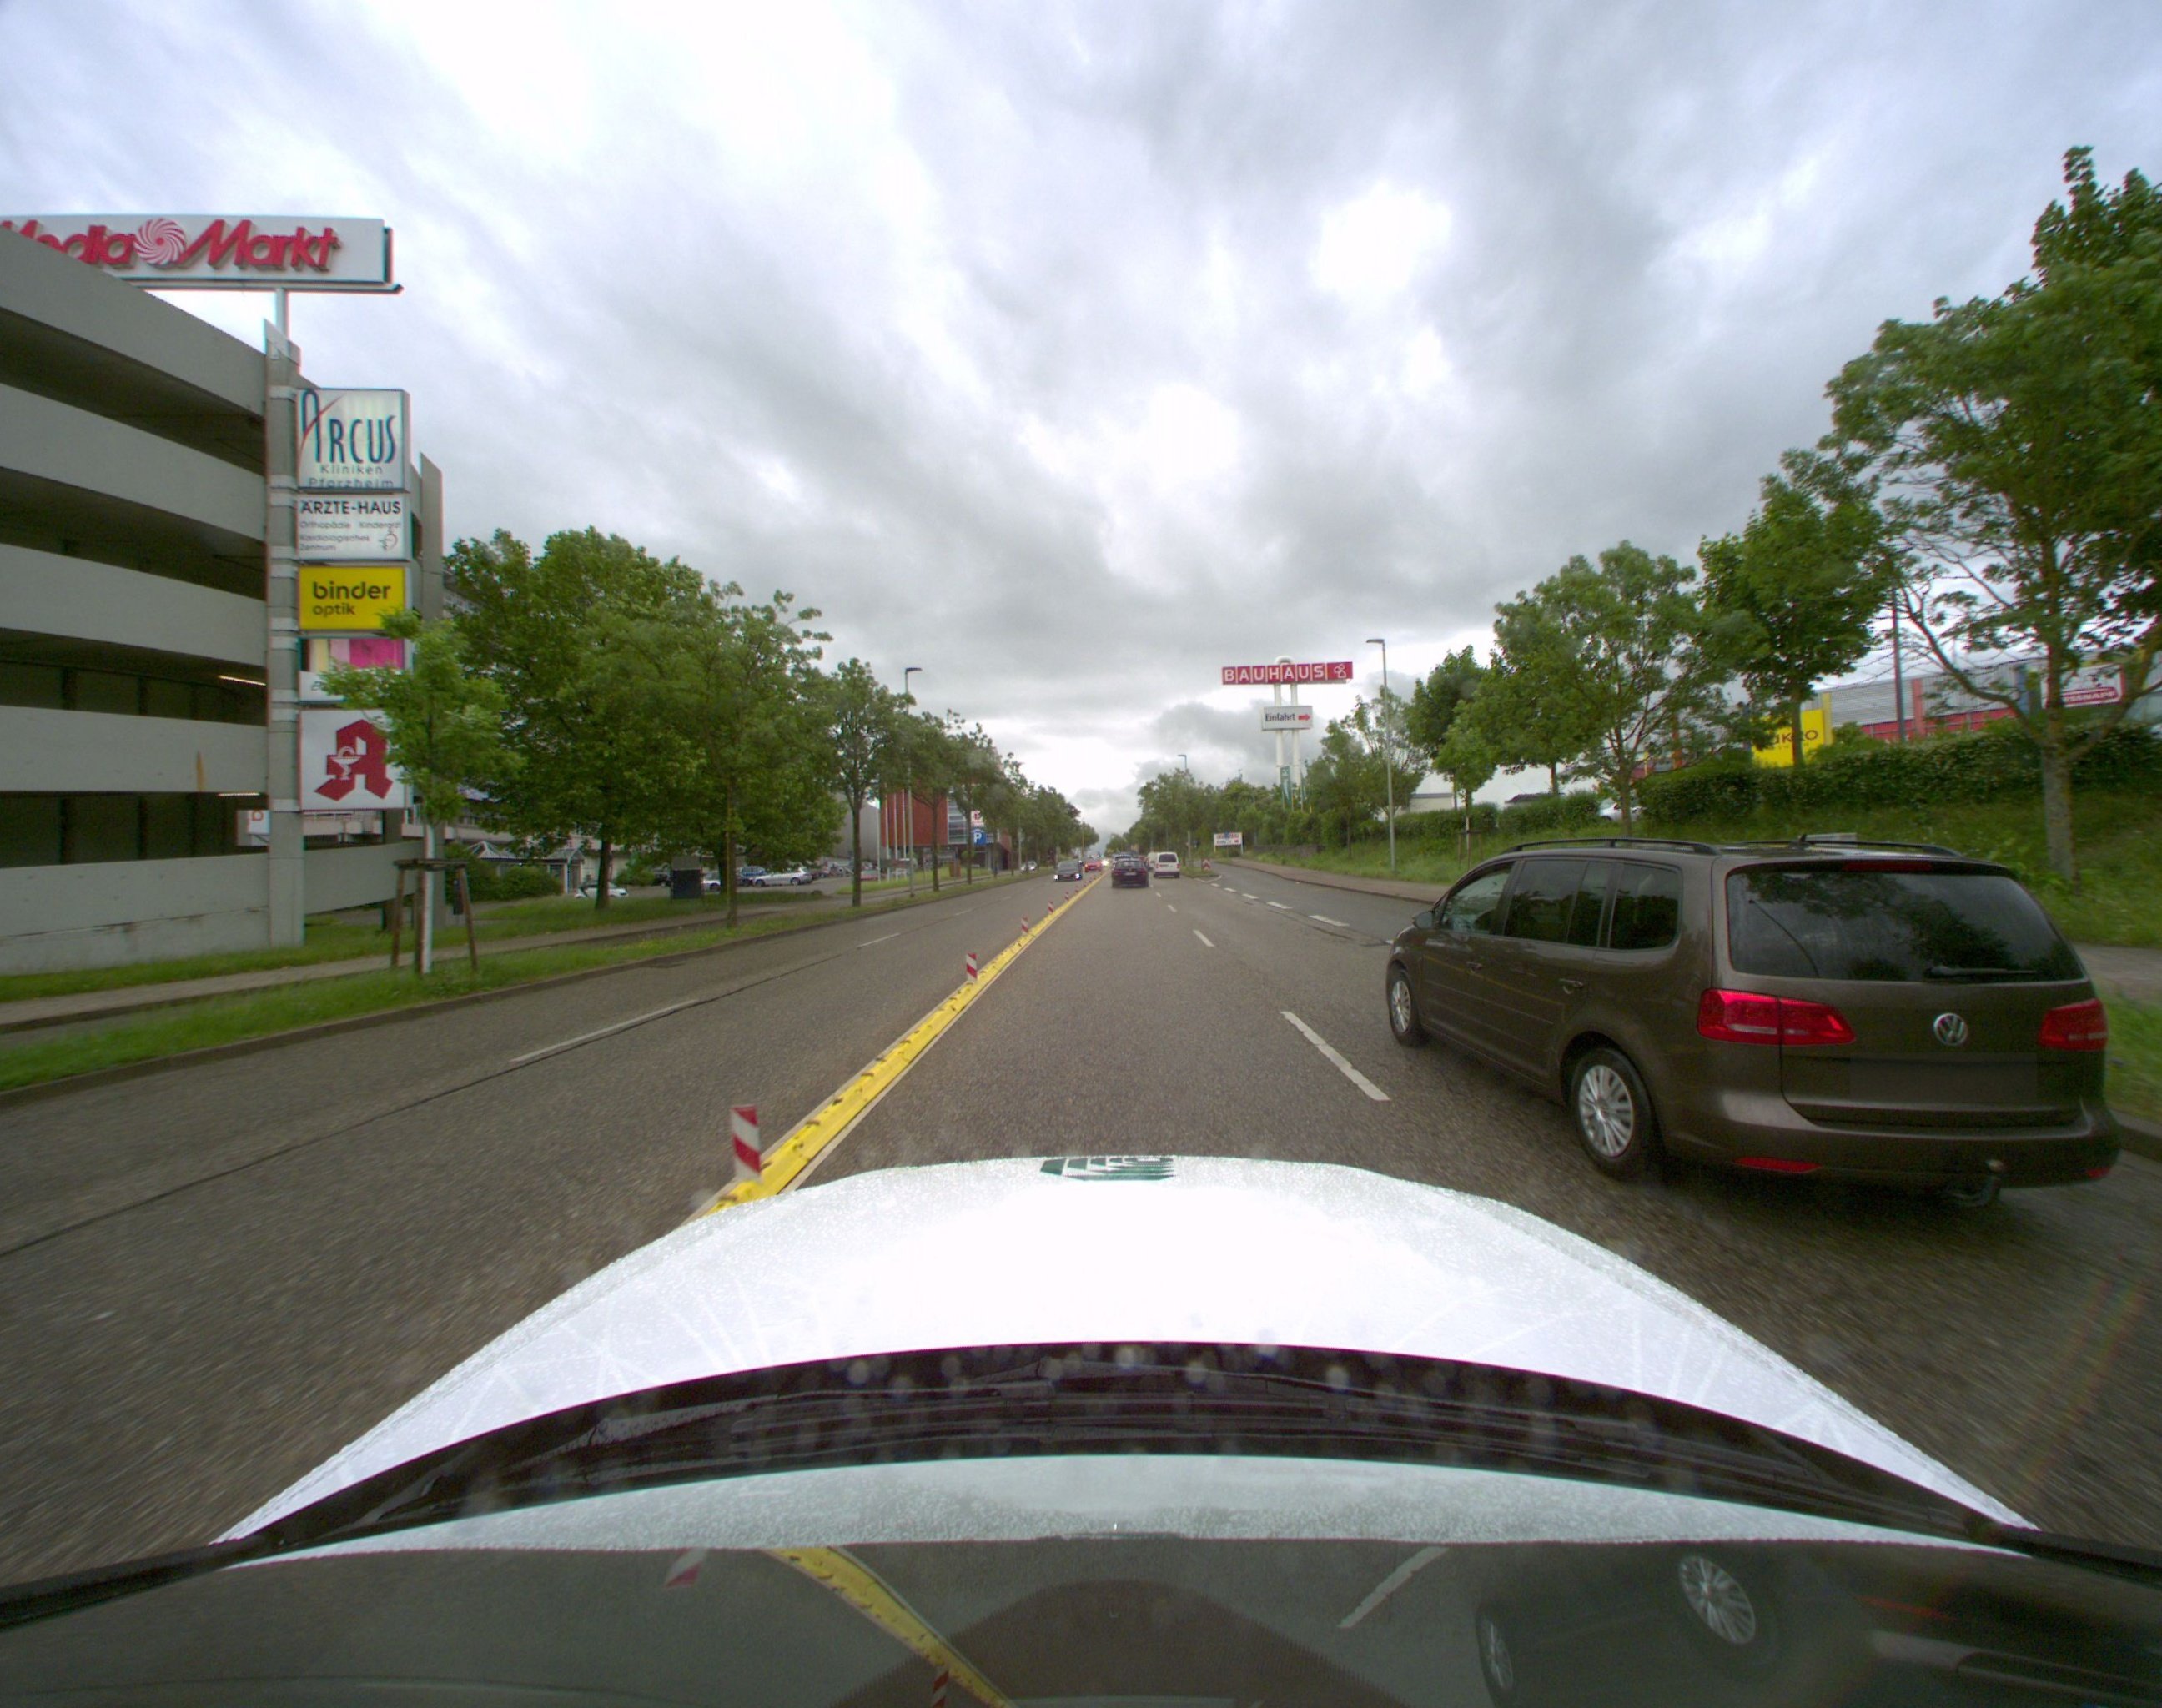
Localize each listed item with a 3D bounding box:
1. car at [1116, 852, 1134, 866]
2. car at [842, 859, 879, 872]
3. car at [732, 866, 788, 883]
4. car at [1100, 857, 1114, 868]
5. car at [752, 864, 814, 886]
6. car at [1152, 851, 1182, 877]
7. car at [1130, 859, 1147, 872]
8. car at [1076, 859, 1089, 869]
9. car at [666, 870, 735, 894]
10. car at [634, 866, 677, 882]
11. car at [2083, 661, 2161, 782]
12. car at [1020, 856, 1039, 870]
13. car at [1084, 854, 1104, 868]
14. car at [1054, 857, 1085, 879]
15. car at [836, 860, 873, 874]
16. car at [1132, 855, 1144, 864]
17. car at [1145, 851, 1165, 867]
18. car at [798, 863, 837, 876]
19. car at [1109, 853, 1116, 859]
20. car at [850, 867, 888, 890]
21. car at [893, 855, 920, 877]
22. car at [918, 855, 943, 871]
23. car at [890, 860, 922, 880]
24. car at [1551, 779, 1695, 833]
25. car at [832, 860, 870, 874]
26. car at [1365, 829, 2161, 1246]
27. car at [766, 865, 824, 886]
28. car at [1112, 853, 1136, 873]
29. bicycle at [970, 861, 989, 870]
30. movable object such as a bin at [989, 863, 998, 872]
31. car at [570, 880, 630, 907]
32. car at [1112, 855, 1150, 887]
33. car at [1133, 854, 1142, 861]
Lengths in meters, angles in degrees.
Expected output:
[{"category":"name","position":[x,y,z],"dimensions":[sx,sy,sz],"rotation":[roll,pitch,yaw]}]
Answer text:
[{"category":"car","position":[4.625,0.533,86.358],"dimensions":[1.787,1.510,4.002],"rotation":[0,-1,2]},{"category":"car","position":[-27.688,1.477,102.320],"dimensions":[4.185,1.510,1.816],"rotation":[-1,1,-6]},{"category":"car","position":[-31.147,1.982,79.025],"dimensions":[4.603,1.510,2.021],"rotation":[-1,1,-6]},{"category":"car","position":[3.589,1.173,112.930],"dimensions":[1.660,1.410,4.381],"rotation":[-4,-1,3]},{"category":"car","position":[-25.720,1.794,70.424],"dimensions":[4.592,1.745,1.963],"rotation":[-1,1,-6]},{"category":"car","position":[6.055,0.664,57.893],"dimensions":[1.820,1.759,4.002],"rotation":[0,0,2]},{"category":"car","position":[6.751,1.362,95.691],"dimensions":[1.788,1.510,3.999],"rotation":[0,-1,0]},{"category":"car","position":[0.270,1.612,132.194],"dimensions":[1.780,1.614,4.440],"rotation":[-4,0,3]},{"category":"car","position":[-30.275,2.227,64.901],"dimensions":[4.597,1.745,1.961],"rotation":[-1,1,-9]},{"category":"car","position":[-48.648,2.248,93.136],"dimensions":[3.979,1.732,1.798],"rotation":[-1,1,-4]},{"category":"car","position":[22.780,-2.744,15.297],"dimensions":[5.599,2.142,2.118],"rotation":[-5,-1,-5]},{"category":"car","position":[-6.546,1.145,104.734],"dimensions":[1.859,1.553,4.578],"rotation":[-4,0,2]},{"category":"car","position":[1.382,0.727,86.865],"dimensions":[1.754,1.425,4.185],"rotation":[-3,0,5]},{"category":"car","position":[-0.777,0.966,58.050],"dimensions":[1.820,1.466,4.619],"rotation":[-2,0,3]},{"category":"car","position":[-27.763,1.578,100.066],"dimensions":[4.103,1.510,1.816],"rotation":[-1,1,-6]},{"category":"car","position":[9.470,0.969,136.038],"dimensions":[1.788,1.510,3.999],"rotation":[0,-1,0]},{"category":"car","position":[7.372,0.532,81.241],"dimensions":[1.787,1.510,4.003],"rotation":[0,-1,3]},{"category":"car","position":[-32.176,1.875,99.555],"dimensions":[4.103,1.510,1.816],"rotation":[-1,1,-6]},{"category":"car","position":[9.655,0.612,248.008],"dimensions":[1.786,1.510,4.004],"rotation":[-4,0,3]},{"category":"car","position":[-16.921,1.921,65.328],"dimensions":[1.928,1.608,4.708],"rotation":[-1,1,-2]},{"category":"car","position":[-18.305,1.242,85.656],"dimensions":[2.111,2.096,5.112],"rotation":[-1,1,-6]},{"category":"car","position":[-18.633,1.065,100.790],"dimensions":[2.130,1.773,4.609],"rotation":[-1,1,1]},{"category":"car","position":[-17.099,1.538,79.936],"dimensions":[2.033,1.762,4.945],"rotation":[-1,1,0]},{"category":"car","position":[21.239,-1.848,31.997],"dimensions":[4.338,1.629,1.926],"rotation":[-5,-1,-3]},{"category":"car","position":[-27.628,1.578,97.833],"dimensions":[4.103,1.510,1.816],"rotation":[-1,1,-6]},{"category":"car","position":[3.349,0.691,5.202],"dimensions":[1.679,1.581,4.219],"rotation":[0,0,1]},{"category":"car","position":[-25.698,1.904,73.268],"dimensions":[4.493,1.745,1.897],"rotation":[-1,1,-6]},{"category":"car","position":[3.264,0.691,61.939],"dimensions":[1.787,1.510,4.003],"rotation":[0,-1,3]},{"category":"bicycle","position":[-12.285,1.422,98.688],"dimensions":[2.066,0.935,1.095],"rotation":[3,-1,6]},{"category":"movable object such as a bin","position":[-10.707,1.617,99.663],"dimensions":[0.815,1.079,1.087],"rotation":[2,0,3]},{"category":"car","position":[-29.845,2.426,50.554],"dimensions":[2.694,1.365,1.606],"rotation":[-4,1,-8]},{"category":"car","position":[2.579,0.833,41.937],"dimensions":[1.819,1.468,4.004],"rotation":[-2,0,3]},{"category":"car","position":[12.362,0.699,179.139],"dimensions":[1.788,1.510,4.001],"rotation":[0,-1,1]}]
